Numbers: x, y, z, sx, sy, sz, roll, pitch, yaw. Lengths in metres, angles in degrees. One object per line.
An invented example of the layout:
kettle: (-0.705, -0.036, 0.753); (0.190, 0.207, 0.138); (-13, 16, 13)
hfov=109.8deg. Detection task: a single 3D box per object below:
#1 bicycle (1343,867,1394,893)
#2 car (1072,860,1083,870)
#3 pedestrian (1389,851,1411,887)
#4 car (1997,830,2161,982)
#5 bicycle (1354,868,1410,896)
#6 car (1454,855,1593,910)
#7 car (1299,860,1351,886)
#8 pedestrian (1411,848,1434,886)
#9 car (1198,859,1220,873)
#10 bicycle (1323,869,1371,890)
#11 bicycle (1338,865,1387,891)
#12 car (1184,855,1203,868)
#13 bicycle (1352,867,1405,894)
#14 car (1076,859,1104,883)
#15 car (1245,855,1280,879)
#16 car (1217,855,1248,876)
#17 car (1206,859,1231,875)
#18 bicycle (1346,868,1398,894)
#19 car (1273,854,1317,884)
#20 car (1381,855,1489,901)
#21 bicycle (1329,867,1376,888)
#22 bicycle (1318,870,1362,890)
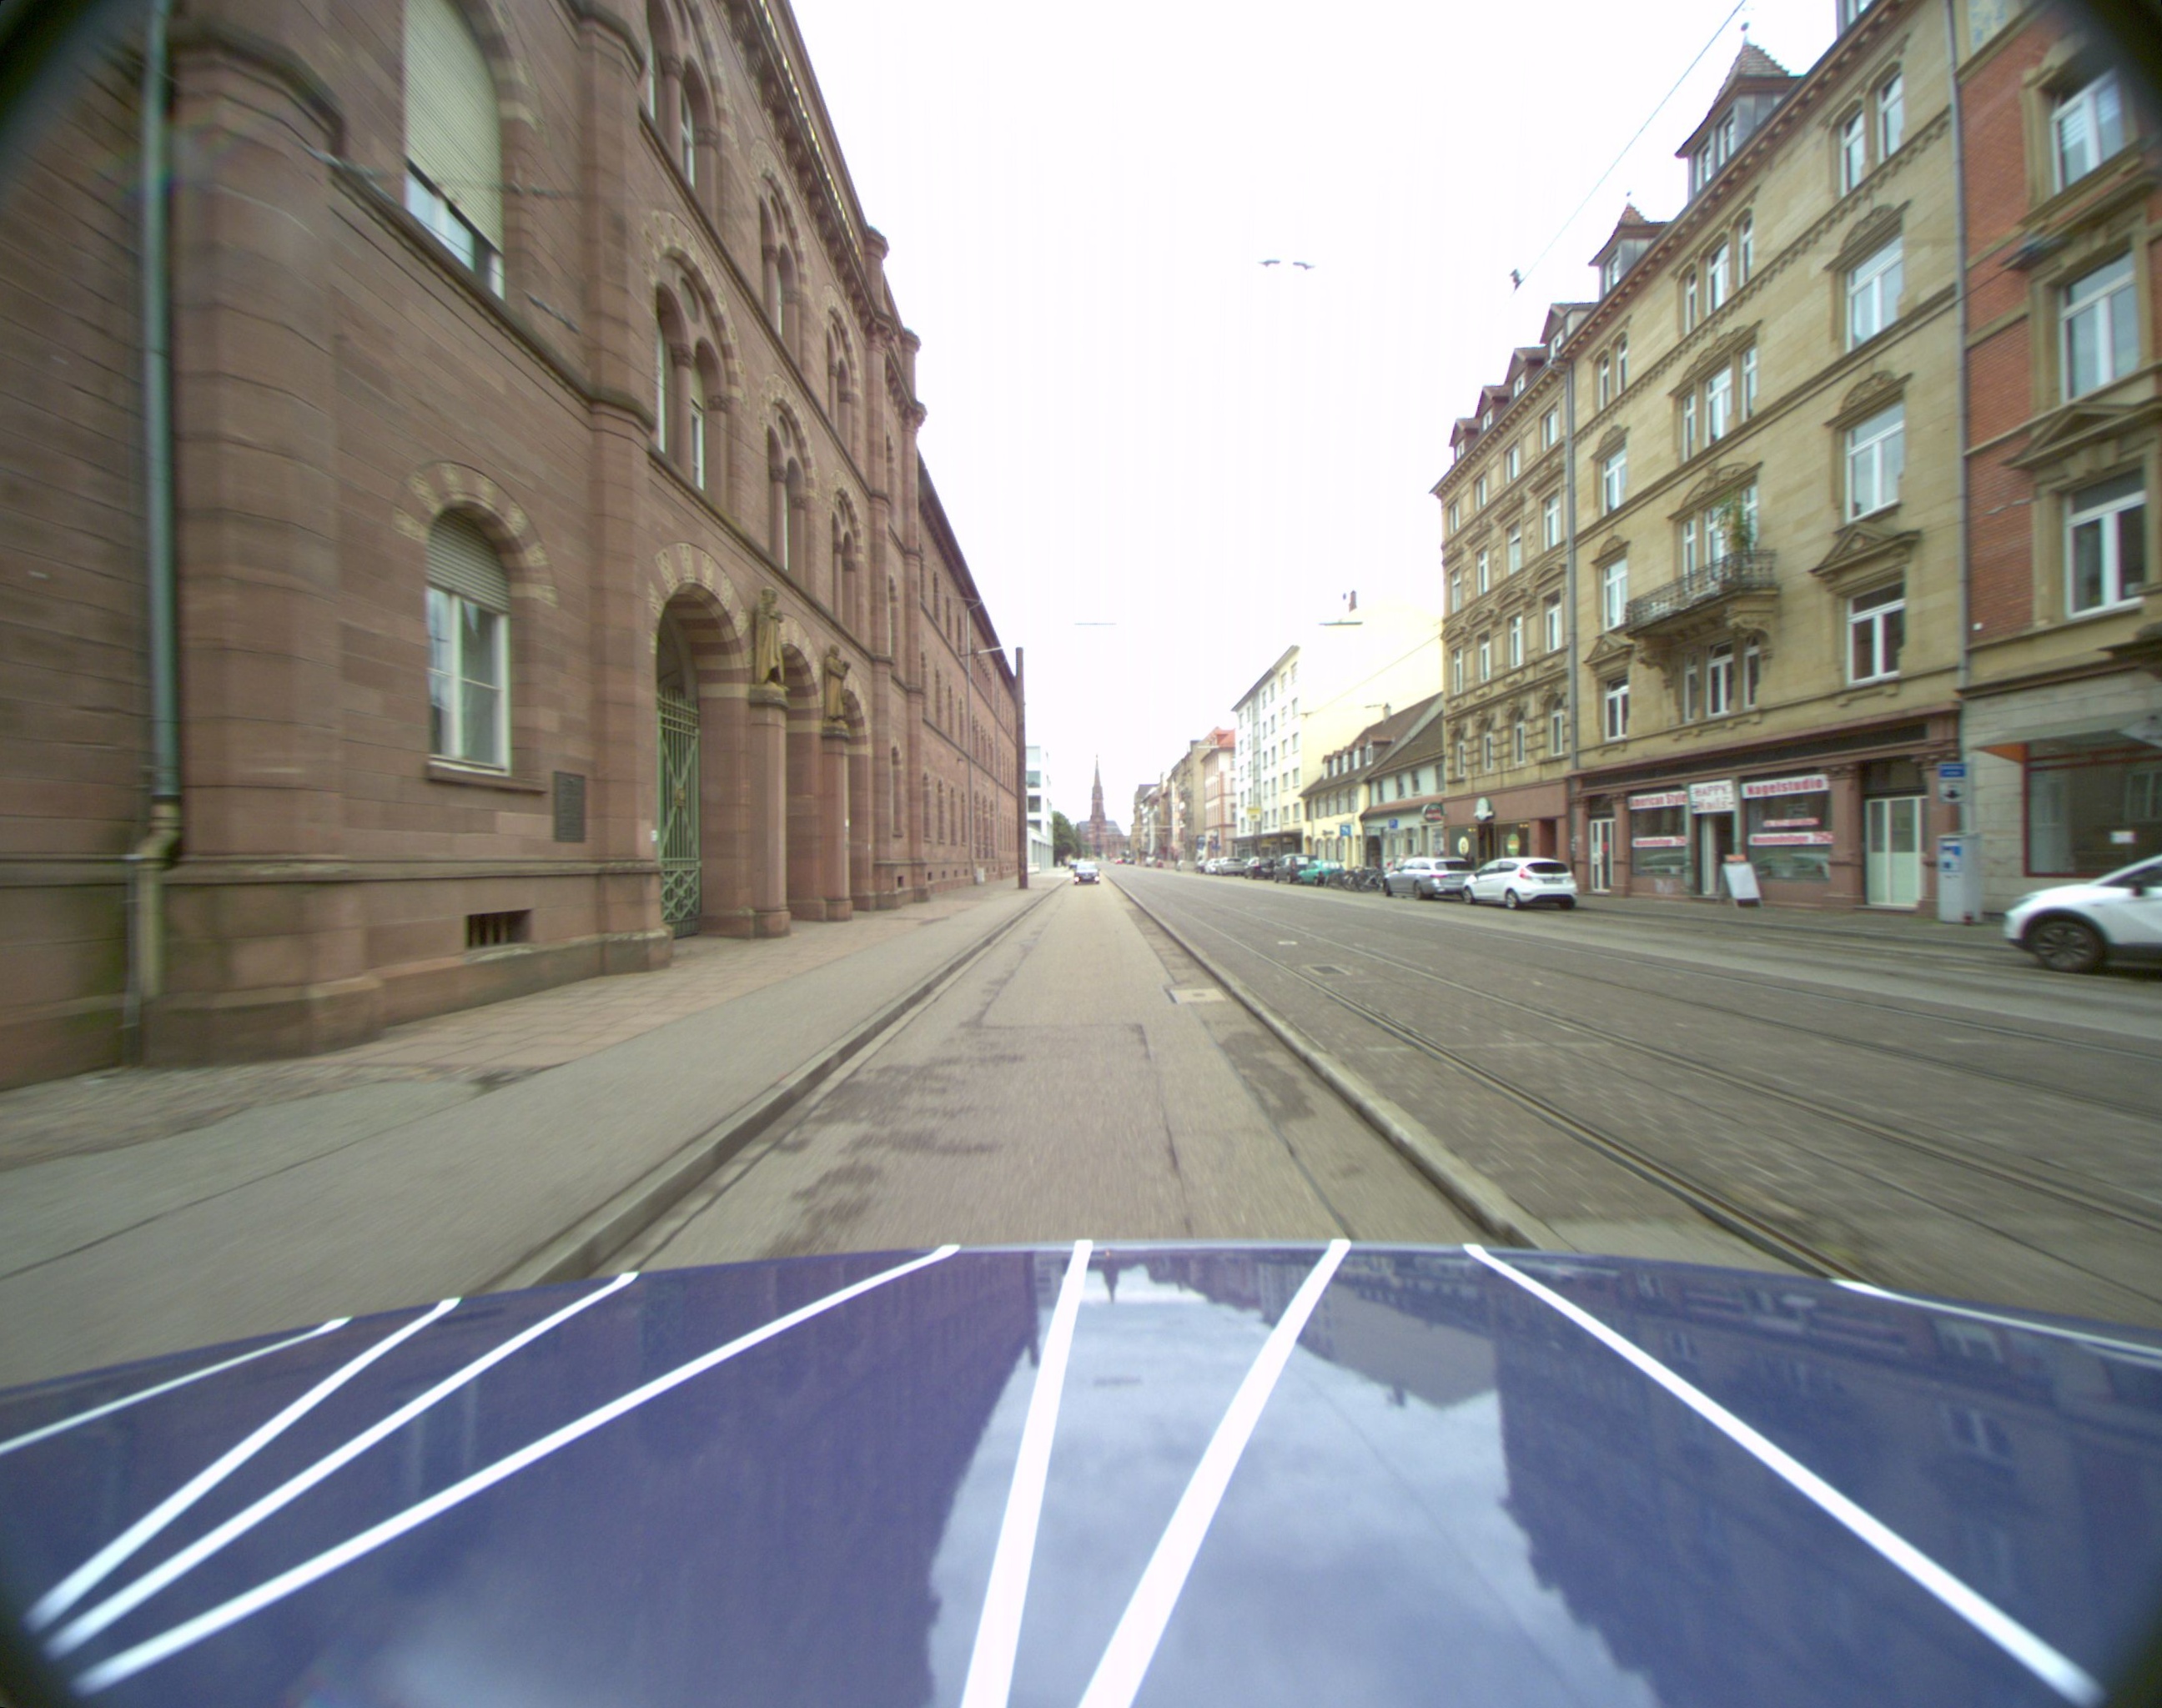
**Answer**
bicycle: (13.087, 1.192, 34.619); (2.044, 1.091, 0.557); (-2, 0, 2)
car: (-0.703, 1.941, 137.756); (1.835, 1.652, 4.000); (-2, 0, 1)
pedestrian: (14.782, 0.682, 35.201); (0.657, 1.607, 0.728); (-2, 0, 0)
car: (12.669, 0.558, 7.771); (1.748, 1.662, 4.046); (0, -1, 0)
bicycle: (12.902, 1.192, 32.580); (2.139, 1.091, 0.557); (-2, 0, 2)
car: (12.861, 0.790, 22.404); (1.748, 1.456, 4.046); (0, -1, 0)
car: (13.330, 1.012, 41.722); (1.651, 1.372, 3.436); (0, -1, -2)
pedestrian: (15.620, 0.574, 34.808); (0.657, 1.702, 0.754); (-2, 0, 0)
car: (13.595, 1.265, 80.661); (1.733, 1.335, 3.247); (-2, 0, 0)
bicycle: (13.109, 1.274, 37.489); (2.126, 0.928, 0.557); (-2, 0, -2)
bicycle: (13.046, 1.102, 35.223); (2.044, 1.091, 0.557); (-2, 0, 2)
car: (14.057, 0.906, 95.162); (1.867, 1.553, 4.000); (1, 0, 1)
bicycle: (13.034, 1.155, 33.325); (2.044, 1.091, 0.557); (-2, 0, 2)
car: (0.592, 1.128, 51.390); (1.747, 1.538, 3.650); (-2, 0, -1)
car: (13.467, 0.963, 56.486); (1.704, 1.662, 4.181); (-2, 0, 2)
car: (13.463, 1.026, 67.625); (1.928, 1.722, 3.827); (-2, 0, 0)
car: (13.415, 1.243, 74.476); (1.733, 1.443, 3.827); (-2, 0, 0)
bicycle: (12.991, 1.194, 33.962); (2.044, 1.091, 0.557); (-2, 0, 2)
car: (13.035, 0.866, 46.511); (1.707, 1.746, 3.920); (0, 0, 3)
car: (12.444, 0.825, 27.080); (1.828, 1.512, 4.546); (0, -1, 1)
bicycle: (13.116, 1.156, 36.775); (2.044, 0.928, 0.557); (-2, 0, 3)
bicycle: (13.323, 1.349, 39.088); (2.044, 0.928, 0.557); (-2, 0, -2)
